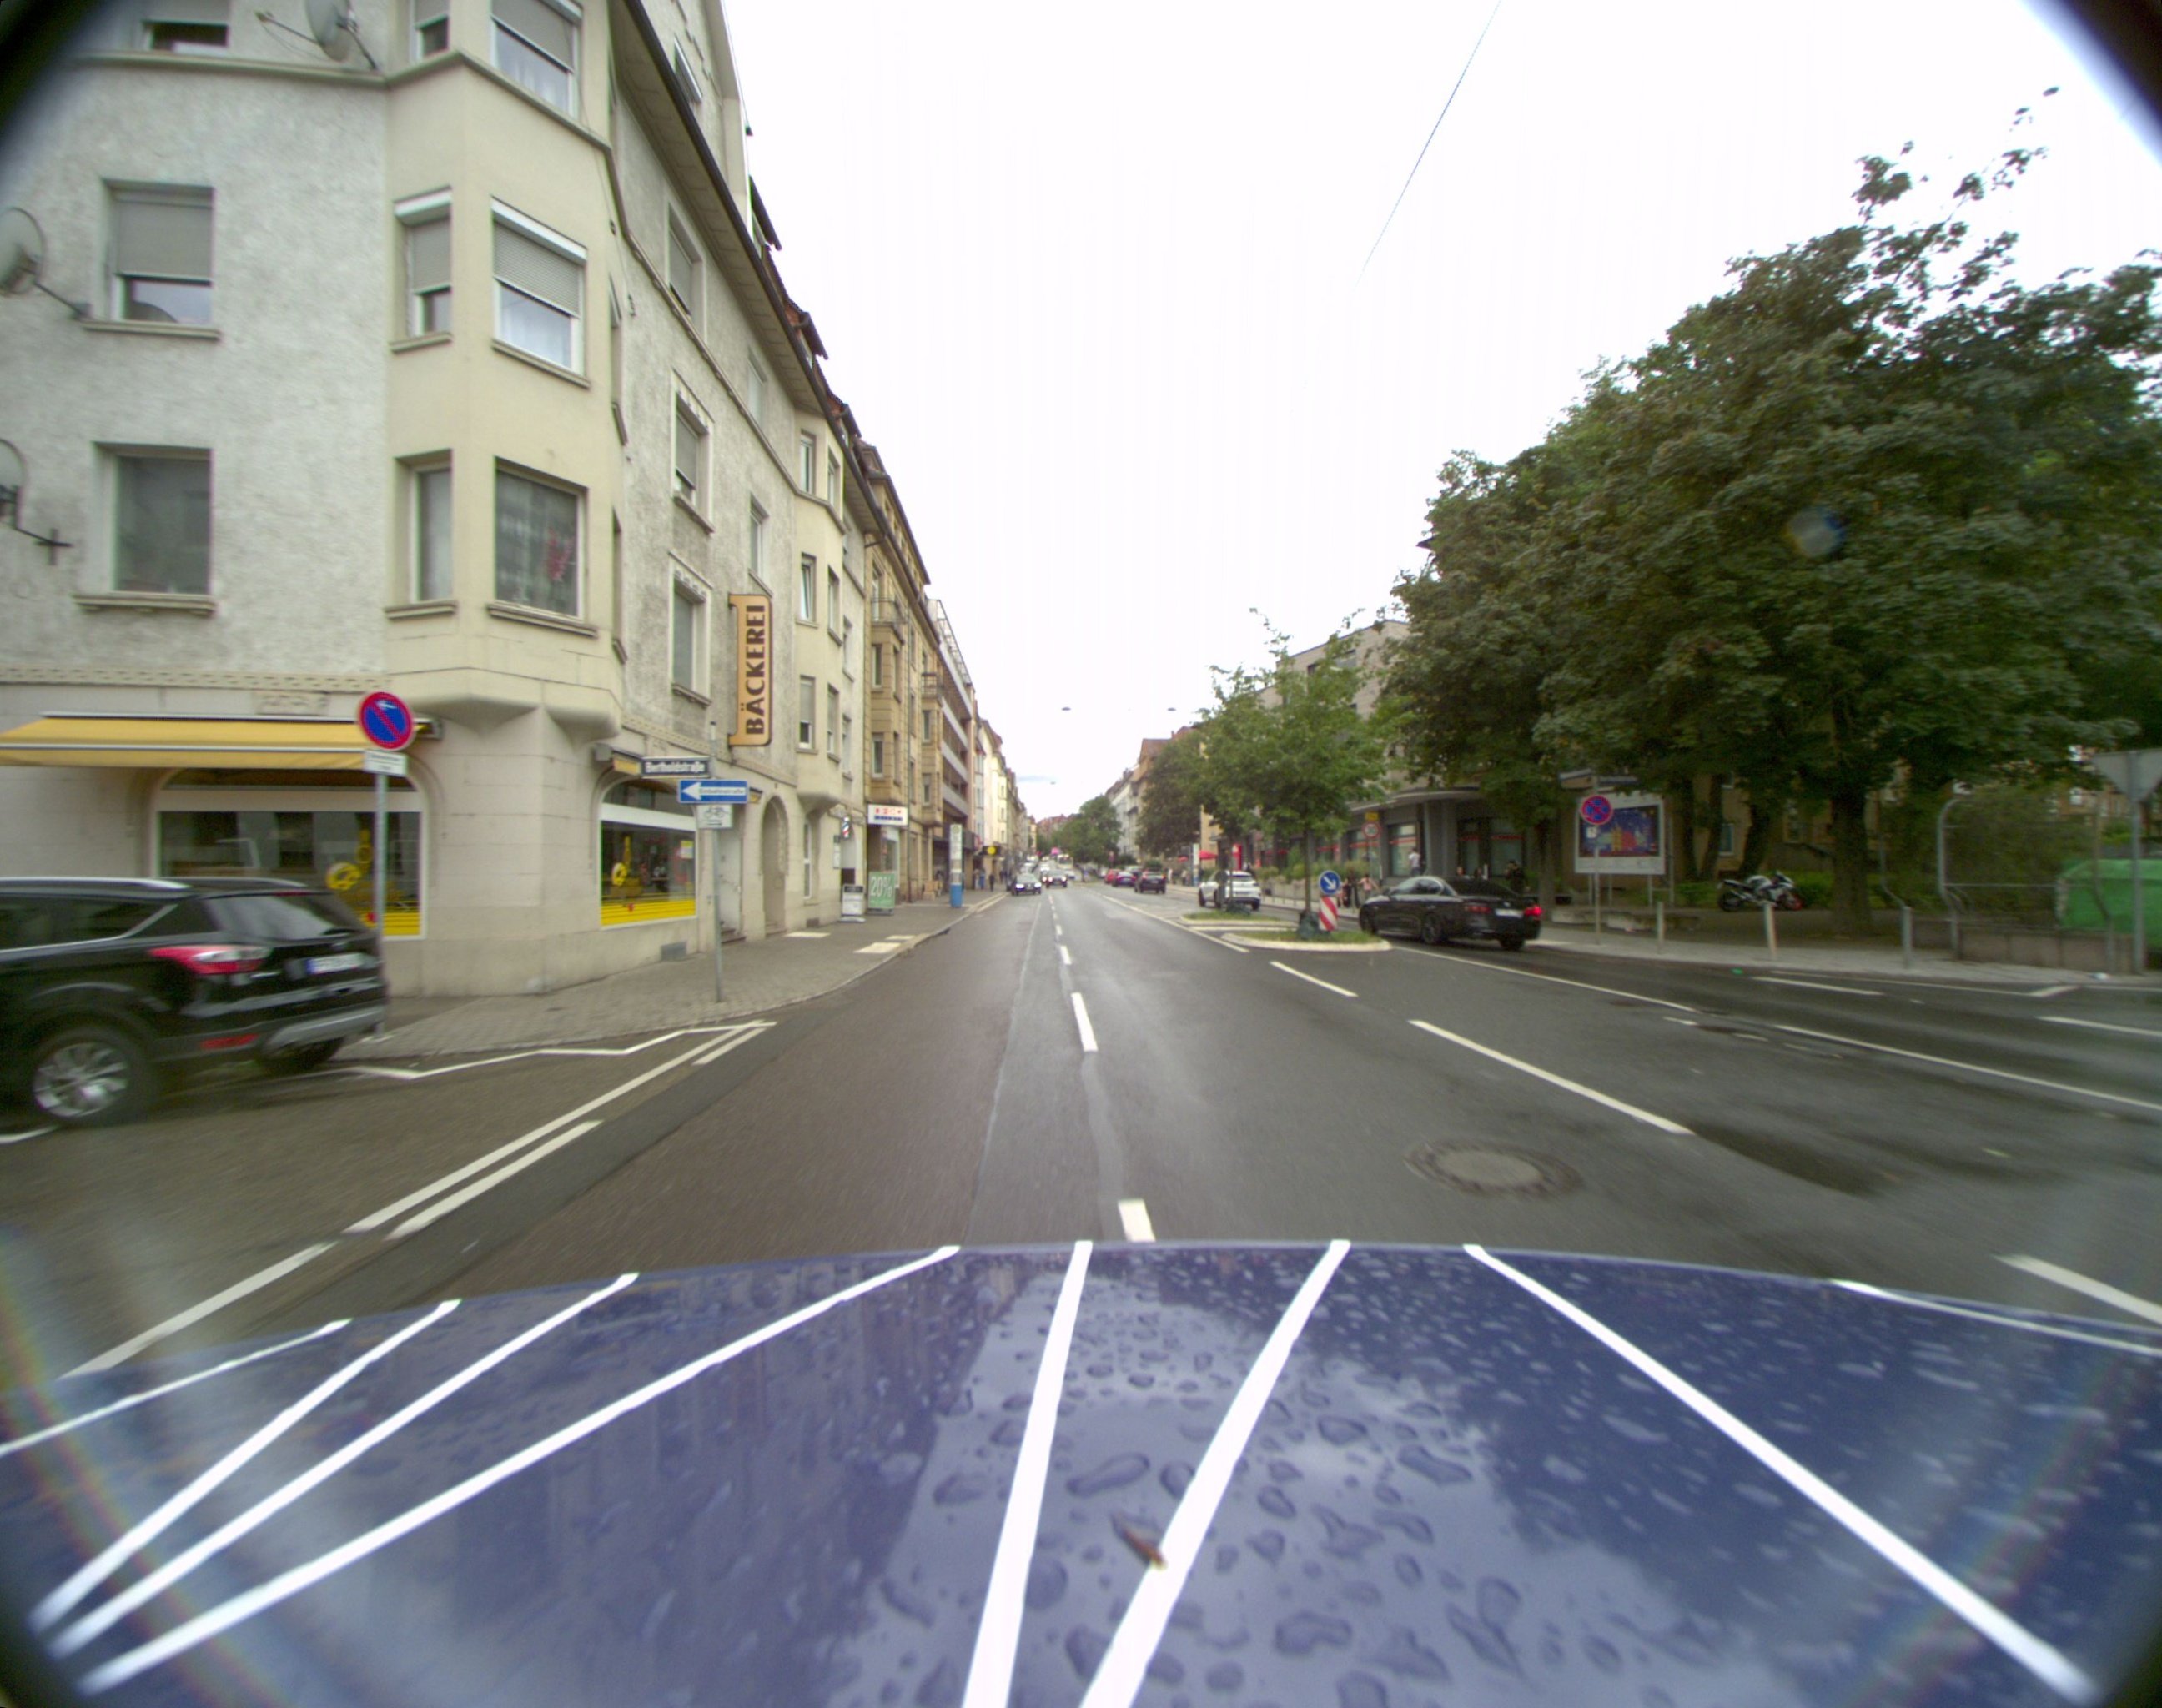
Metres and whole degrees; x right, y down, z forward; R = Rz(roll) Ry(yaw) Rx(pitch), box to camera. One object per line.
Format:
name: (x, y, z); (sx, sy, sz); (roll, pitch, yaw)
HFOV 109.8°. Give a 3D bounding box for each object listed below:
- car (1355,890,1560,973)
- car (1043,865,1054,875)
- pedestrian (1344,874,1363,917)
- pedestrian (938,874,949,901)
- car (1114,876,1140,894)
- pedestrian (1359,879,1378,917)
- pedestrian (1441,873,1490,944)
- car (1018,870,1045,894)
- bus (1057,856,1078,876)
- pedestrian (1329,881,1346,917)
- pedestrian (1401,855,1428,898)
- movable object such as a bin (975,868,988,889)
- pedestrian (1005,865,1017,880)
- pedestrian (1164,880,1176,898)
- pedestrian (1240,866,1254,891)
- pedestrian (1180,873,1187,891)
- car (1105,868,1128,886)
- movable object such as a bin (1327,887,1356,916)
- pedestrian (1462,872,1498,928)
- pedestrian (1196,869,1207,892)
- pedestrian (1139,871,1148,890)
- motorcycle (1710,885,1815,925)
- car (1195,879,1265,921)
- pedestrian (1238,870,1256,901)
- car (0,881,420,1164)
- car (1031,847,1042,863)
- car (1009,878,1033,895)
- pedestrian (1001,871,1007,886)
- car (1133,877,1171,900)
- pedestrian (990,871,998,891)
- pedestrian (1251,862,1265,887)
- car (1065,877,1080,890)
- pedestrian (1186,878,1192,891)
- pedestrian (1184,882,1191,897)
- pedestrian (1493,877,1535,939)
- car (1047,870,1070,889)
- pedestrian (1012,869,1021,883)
car: (7.812, 1.546, 16.354); (2.019, 1.417, 4.499); (0, -1, -3)
car: (-6.016, 2.931, 140.948); (1.796, 1.768, 3.902); (-1, -1, -4)
pedestrian: (10.663, 1.603, 29.725); (0.499, 1.663, 0.552); (-1, -1, -6)
pedestrian: (-8.058, 1.960, 44.499); (0.563, 1.563, 0.626); (0, -1, -19)
car: (4.235, 2.823, 70.616); (1.960, 1.502, 4.913); (-2, -1, -1)
pedestrian: (11.307, 1.729, 29.884); (0.461, 1.464, 0.530); (-1, -1, -6)
pedestrian: (10.226, 1.433, 20.231); (0.724, 1.814, 0.853); (-1, -2, -26)
car: (-3.388, 1.937, 52.646); (1.735, 1.538, 3.981); (0, 0, -2)
bus: (-2.365, 2.095, 132.687); (2.813, 3.227, 11.958); (4, -1, -4)
pedestrian: (10.120, 1.770, 29.979); (0.434, 1.402, 0.481); (-1, -1, -6)
pedestrian: (14.328, 0.951, 32.630); (0.724, 1.814, 0.720); (0, -2, -31)
movable object such as a bin: (-8.582, 2.091, 65.620); (1.002, 1.782, 1.296); (0, -1, -5)
pedestrian: (-8.076, 2.154, 87.346); (0.856, 1.738, 1.061); (2, -2, -41)
pedestrian: (8.472, 3.355, 72.335); (0.793, 1.698, 0.761); (-2, -1, -28)
pedestrian: (11.523, 1.712, 52.775); (0.715, 1.668, 0.713); (-1, -1, -3)
pedestrian: (8.903, 2.429, 65.978); (0.438, 1.540, 0.533); (-1, -1, -4)
car: (3.914, 2.491, 84.887); (2.112, 1.754, 5.057); (1, 1, -3)
movable object such as a bin: (10.487, 1.913, 30.600); (0.705, 1.127, 0.965); (-2, -1, -6)
pedestrian: (12.677, 1.455, 24.150); (0.658, 1.748, 0.719); (0, -1, -26)
pedestrian: (9.706, 2.151, 61.361); (0.591, 1.808, 0.870); (-1, -1, -12)
pedestrian: (6.646, 2.811, 80.681); (0.703, 2.001, 0.782); (-1, 0, -7)
motorcycle: (19.327, 1.446, 21.591); (2.056, 0.981, 0.797); (-4, -2, 12)
car: (6.159, 1.869, 31.898); (1.825, 1.559, 4.089); (4, -2, -4)
pedestrian: (9.827, 1.845, 45.008); (0.724, 1.814, 0.721); (-1, -2, -22)
car: (-7.916, 1.132, 5.640); (4.152, 1.761, 1.872); (-1, -1, -10)
car: (-10.821, 0.312, 183.743); (2.555, 3.611, 9.048); (-1, -1, -4)
car: (-5.076, 2.744, 64.694); (1.739, 1.302, 3.767); (-3, -1, -1)
pedestrian: (-8.895, 2.790, 87.951); (0.611, 1.738, 0.698); (0, -1, -3)
car: (4.900, 2.376, 53.041); (1.961, 1.547, 4.243); (1, -2, -5)
pedestrian: (-7.054, 2.169, 61.575); (0.627, 1.641, 0.748); (0, -2, -3)
pedestrian: (12.020, 1.397, 51.599); (0.712, 1.668, 0.802); (-1, -1, 25)
car: (-1.197, 4.054, 105.130); (1.900, 1.564, 4.124); (2, -1, -3)
pedestrian: (9.048, 2.559, 63.645); (0.393, 1.110, 0.386); (-1, -1, -3)
pedestrian: (9.017, 3.007, 64.134); (0.469, 1.269, 0.549); (-1, -1, -3)
pedestrian: (13.227, 1.631, 23.209); (0.863, 1.833, 0.693); (0, -1, -17)
car: (-2.062, 2.351, 68.842); (1.857, 1.645, 4.204); (-1, -2, -5)
pedestrian: (-7.515, 2.536, 88.200); (0.791, 1.655, 0.699); (1, -1, 12)
